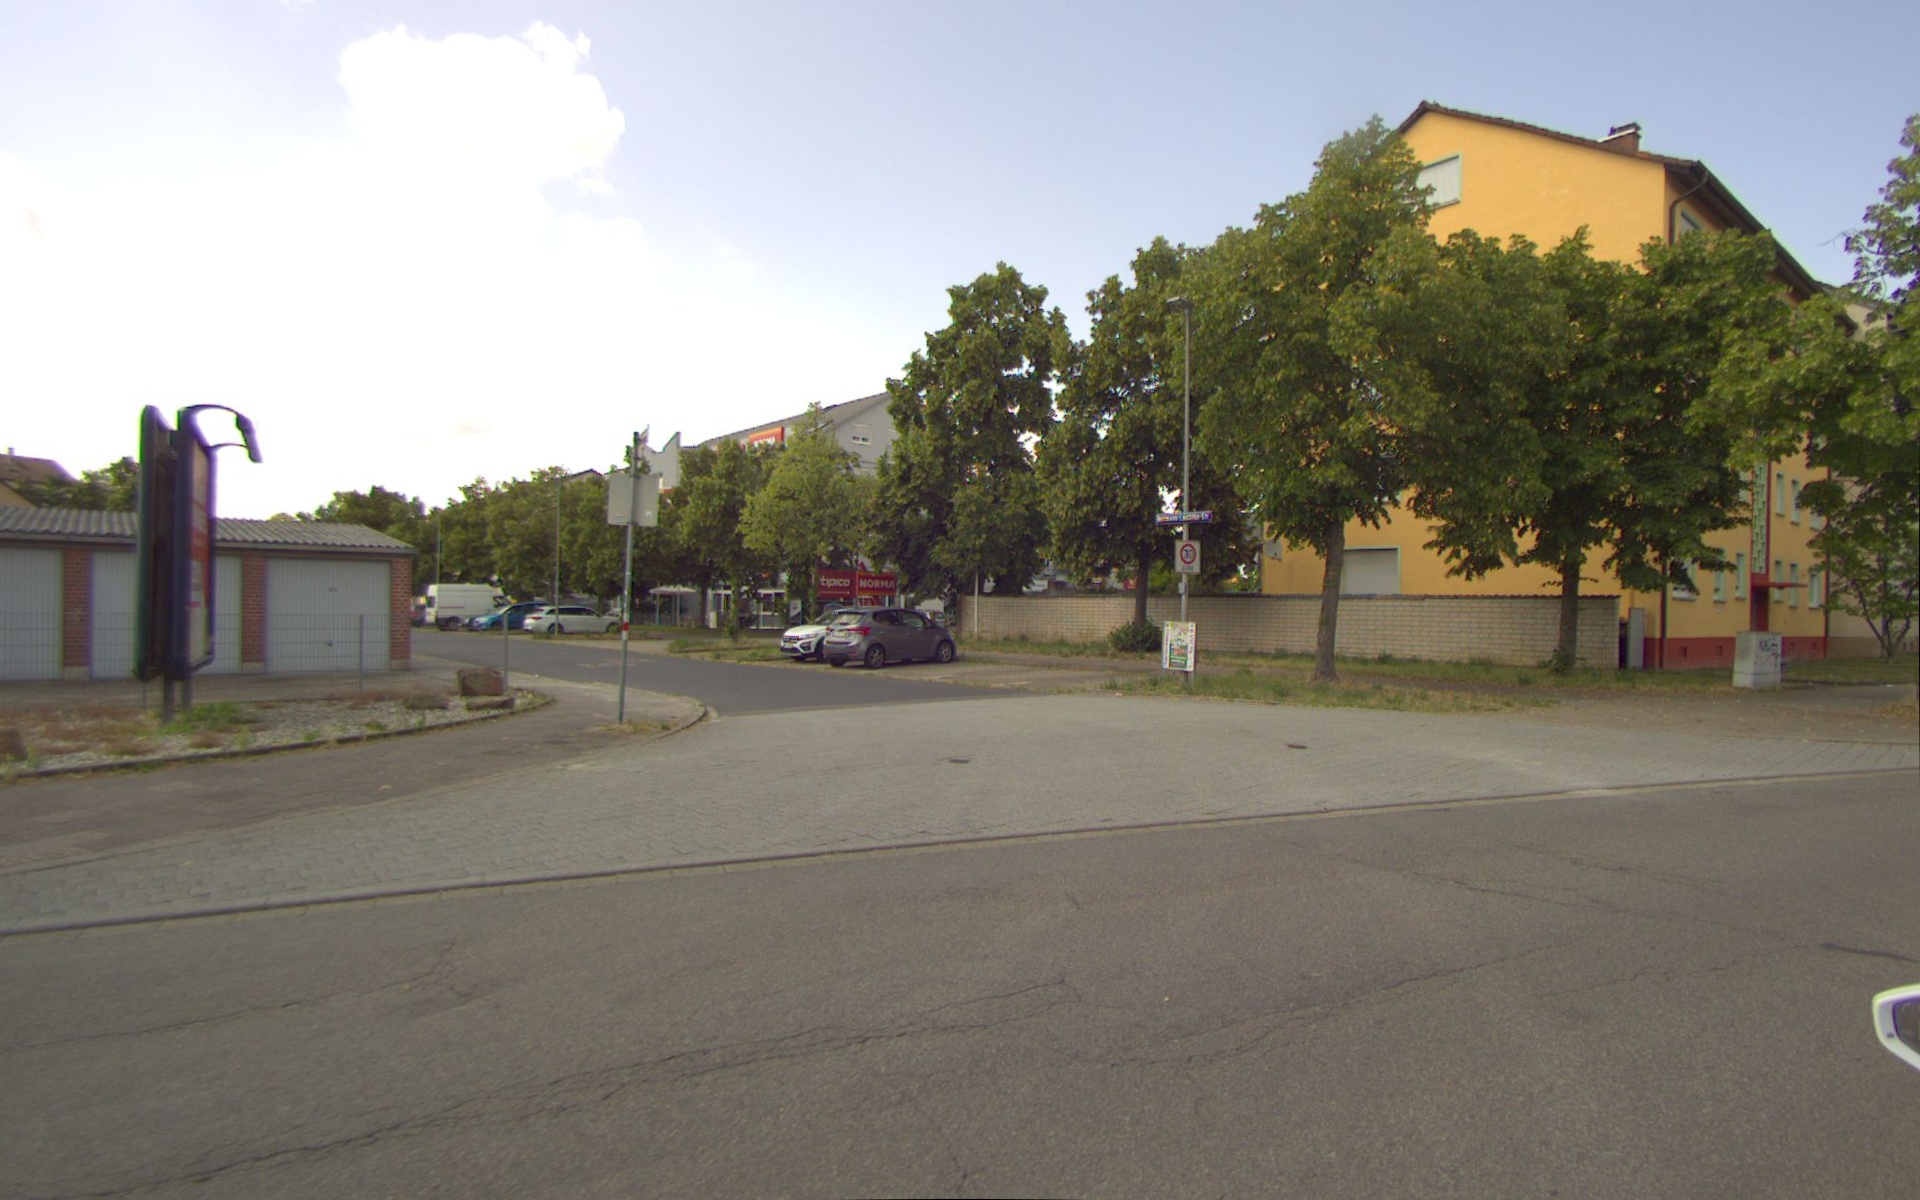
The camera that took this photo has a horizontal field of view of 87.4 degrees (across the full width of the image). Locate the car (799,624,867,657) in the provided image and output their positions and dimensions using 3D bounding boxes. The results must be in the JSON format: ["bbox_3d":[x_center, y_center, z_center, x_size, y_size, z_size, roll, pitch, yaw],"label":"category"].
[{"bbox_3d":[-6.986,2.190,55.012,3.846,1.613,1.642,-1,1,43],"label":"car"}]

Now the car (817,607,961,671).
[{"bbox_3d":[-1.914,1.017,27.761,1.630,1.558,3.876,0,1,44],"label":"car"}]

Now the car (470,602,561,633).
[{"bbox_3d":[-23.770,0.926,53.806,4.219,1.502,1.635,-1,1,-37],"label":"car"}]

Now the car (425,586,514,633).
[{"bbox_3d":[-27.969,0.560,57.374,4.229,2.561,1.830,1,-1,-43],"label":"car"}]

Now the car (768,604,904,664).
[{"bbox_3d":[-3.639,0.970,30.021,1.630,1.613,3.876,0,1,44],"label":"car"}]

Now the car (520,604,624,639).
[{"bbox_3d":[-17.966,0.973,46.580,4.221,1.502,1.634,-1,1,-38],"label":"car"}]

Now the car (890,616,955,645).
[{"bbox_3d":[-2.236,1.797,59.627,3.846,1.613,1.642,-1,1,43],"label":"car"}]
